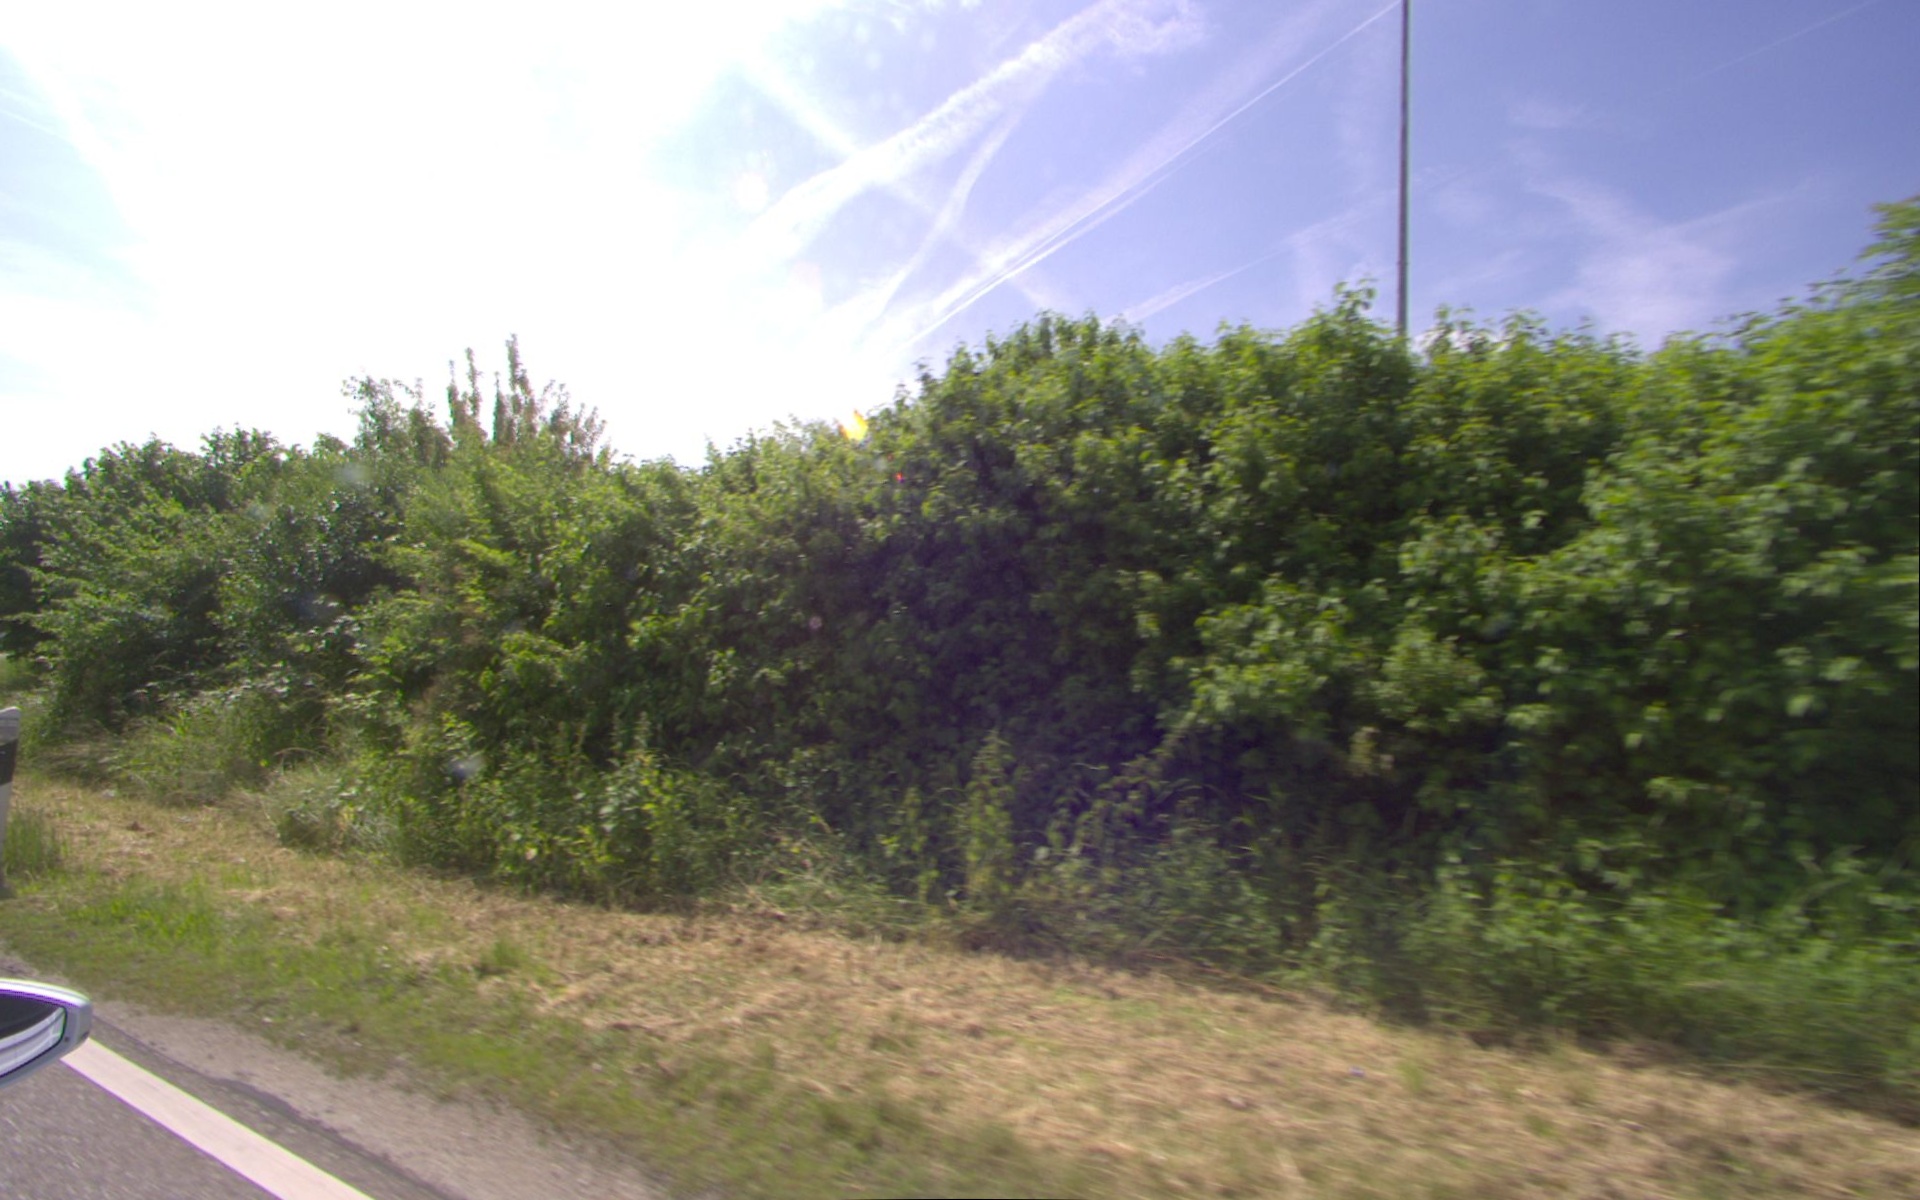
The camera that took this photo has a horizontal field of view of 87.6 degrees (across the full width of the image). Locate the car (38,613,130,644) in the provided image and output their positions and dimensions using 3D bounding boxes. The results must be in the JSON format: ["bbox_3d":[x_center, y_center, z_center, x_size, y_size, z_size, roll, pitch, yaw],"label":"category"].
[{"bbox_3d":[-48.490,1.585,55.449,3.802,1.654,1.745,2,-2,-44],"label":"car"}]

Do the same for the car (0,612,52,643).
[{"bbox_3d":[-48.518,1.398,50.450,4.072,1.567,1.856,2,-3,-43],"label":"car"}]
